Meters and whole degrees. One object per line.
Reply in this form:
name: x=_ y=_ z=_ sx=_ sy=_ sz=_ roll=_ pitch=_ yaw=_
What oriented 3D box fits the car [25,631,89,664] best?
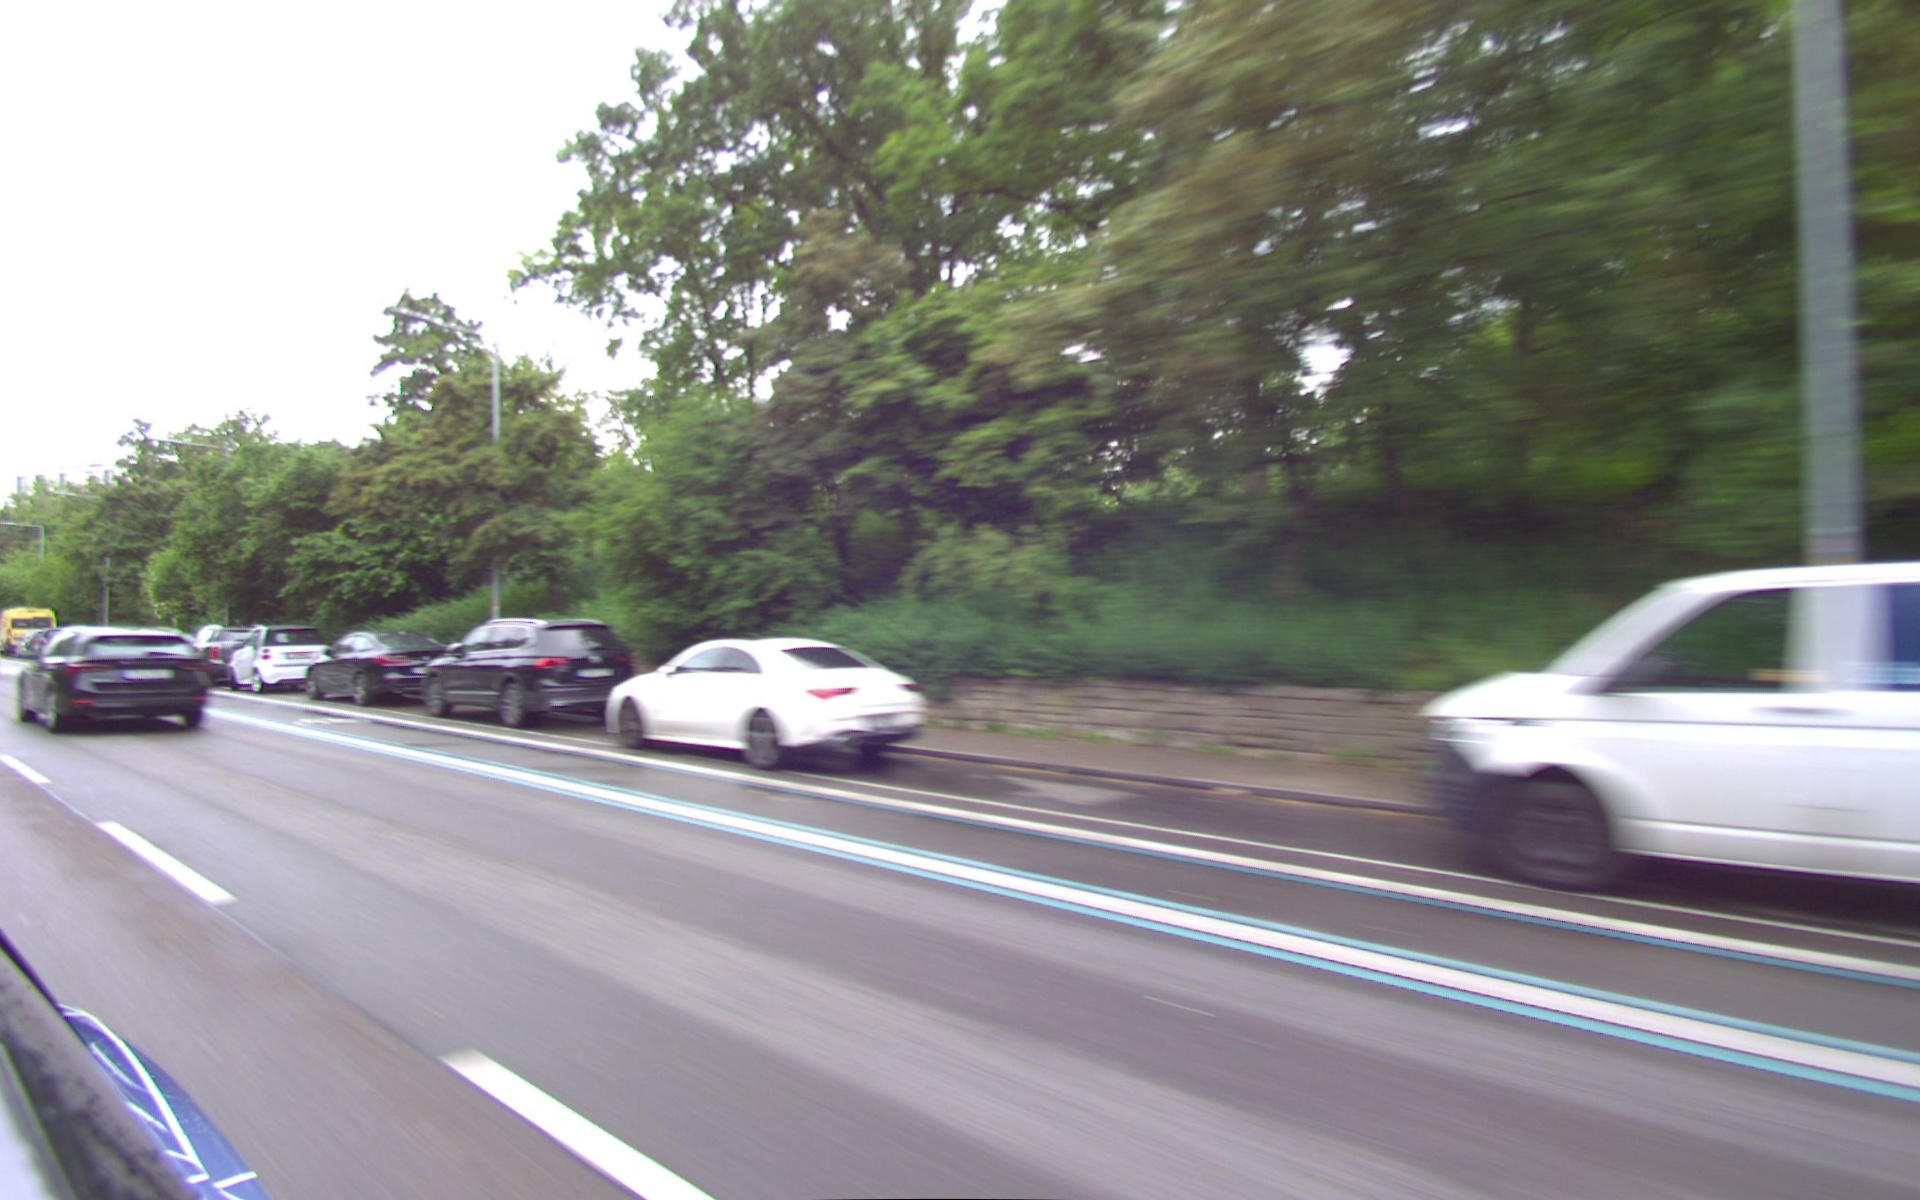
car: x=-42.736 y=2.238 z=47.864 sx=3.556 sy=1.490 sz=1.802 roll=-2 pitch=-3 yaw=41

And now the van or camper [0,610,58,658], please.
van or camper: x=-50.476 y=1.801 z=54.579 sx=4.434 sy=2.470 sz=2.138 roll=-2 pitch=-2 yaw=41

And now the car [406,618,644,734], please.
car: x=-7.314 y=1.164 z=16.788 sx=4.669 sy=1.673 sz=1.718 roll=-2 pitch=-2 yaw=40

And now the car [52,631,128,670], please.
car: x=-34.980 y=2.000 z=40.661 sx=3.771 sy=1.446 sz=1.802 roll=-2 pitch=-2 yaw=41

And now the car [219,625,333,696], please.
car: x=-16.362 y=1.413 z=24.185 sx=2.858 sy=1.606 sz=1.508 roll=-2 pitch=-3 yaw=40

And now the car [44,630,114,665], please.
car: x=-38.507 y=2.063 z=44.209 sx=3.771 sy=1.446 sz=1.802 roll=-2 pitch=-2 yaw=41

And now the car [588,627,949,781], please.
car: x=-2.494 y=1.107 z=12.381 sx=4.750 sy=1.509 sz=1.788 roll=-1 pitch=-2 yaw=41

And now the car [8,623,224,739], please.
car: x=-12.663 y=1.107 z=15.078 sx=4.494 sy=1.469 sz=1.746 roll=-1 pitch=-3 yaw=41

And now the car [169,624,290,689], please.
car: x=-19.550 y=1.470 z=27.034 sx=3.991 sy=1.600 sz=1.795 roll=-2 pitch=-3 yaw=42

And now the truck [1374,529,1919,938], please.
truck: x=5.392 y=0.678 z=5.878 sx=5.153 sy=2.029 sz=2.073 roll=-1 pitch=-2 yaw=39

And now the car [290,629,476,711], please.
car: x=-11.953 y=1.366 z=20.846 sx=4.549 sy=1.486 sz=1.877 roll=-2 pitch=-2 yaw=40

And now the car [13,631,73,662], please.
car: x=-45.784 y=2.294 z=50.498 sx=3.556 sy=1.446 sz=1.802 roll=-2 pitch=-2 yaw=41

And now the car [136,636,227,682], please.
car: x=-23.528 y=1.735 z=30.541 sx=3.595 sy=1.303 sz=1.494 roll=-2 pitch=-2 yaw=41

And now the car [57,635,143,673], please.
car: x=-31.633 y=1.945 z=37.181 sx=4.204 sy=1.303 sz=1.802 roll=-2 pitch=-2 yaw=41
